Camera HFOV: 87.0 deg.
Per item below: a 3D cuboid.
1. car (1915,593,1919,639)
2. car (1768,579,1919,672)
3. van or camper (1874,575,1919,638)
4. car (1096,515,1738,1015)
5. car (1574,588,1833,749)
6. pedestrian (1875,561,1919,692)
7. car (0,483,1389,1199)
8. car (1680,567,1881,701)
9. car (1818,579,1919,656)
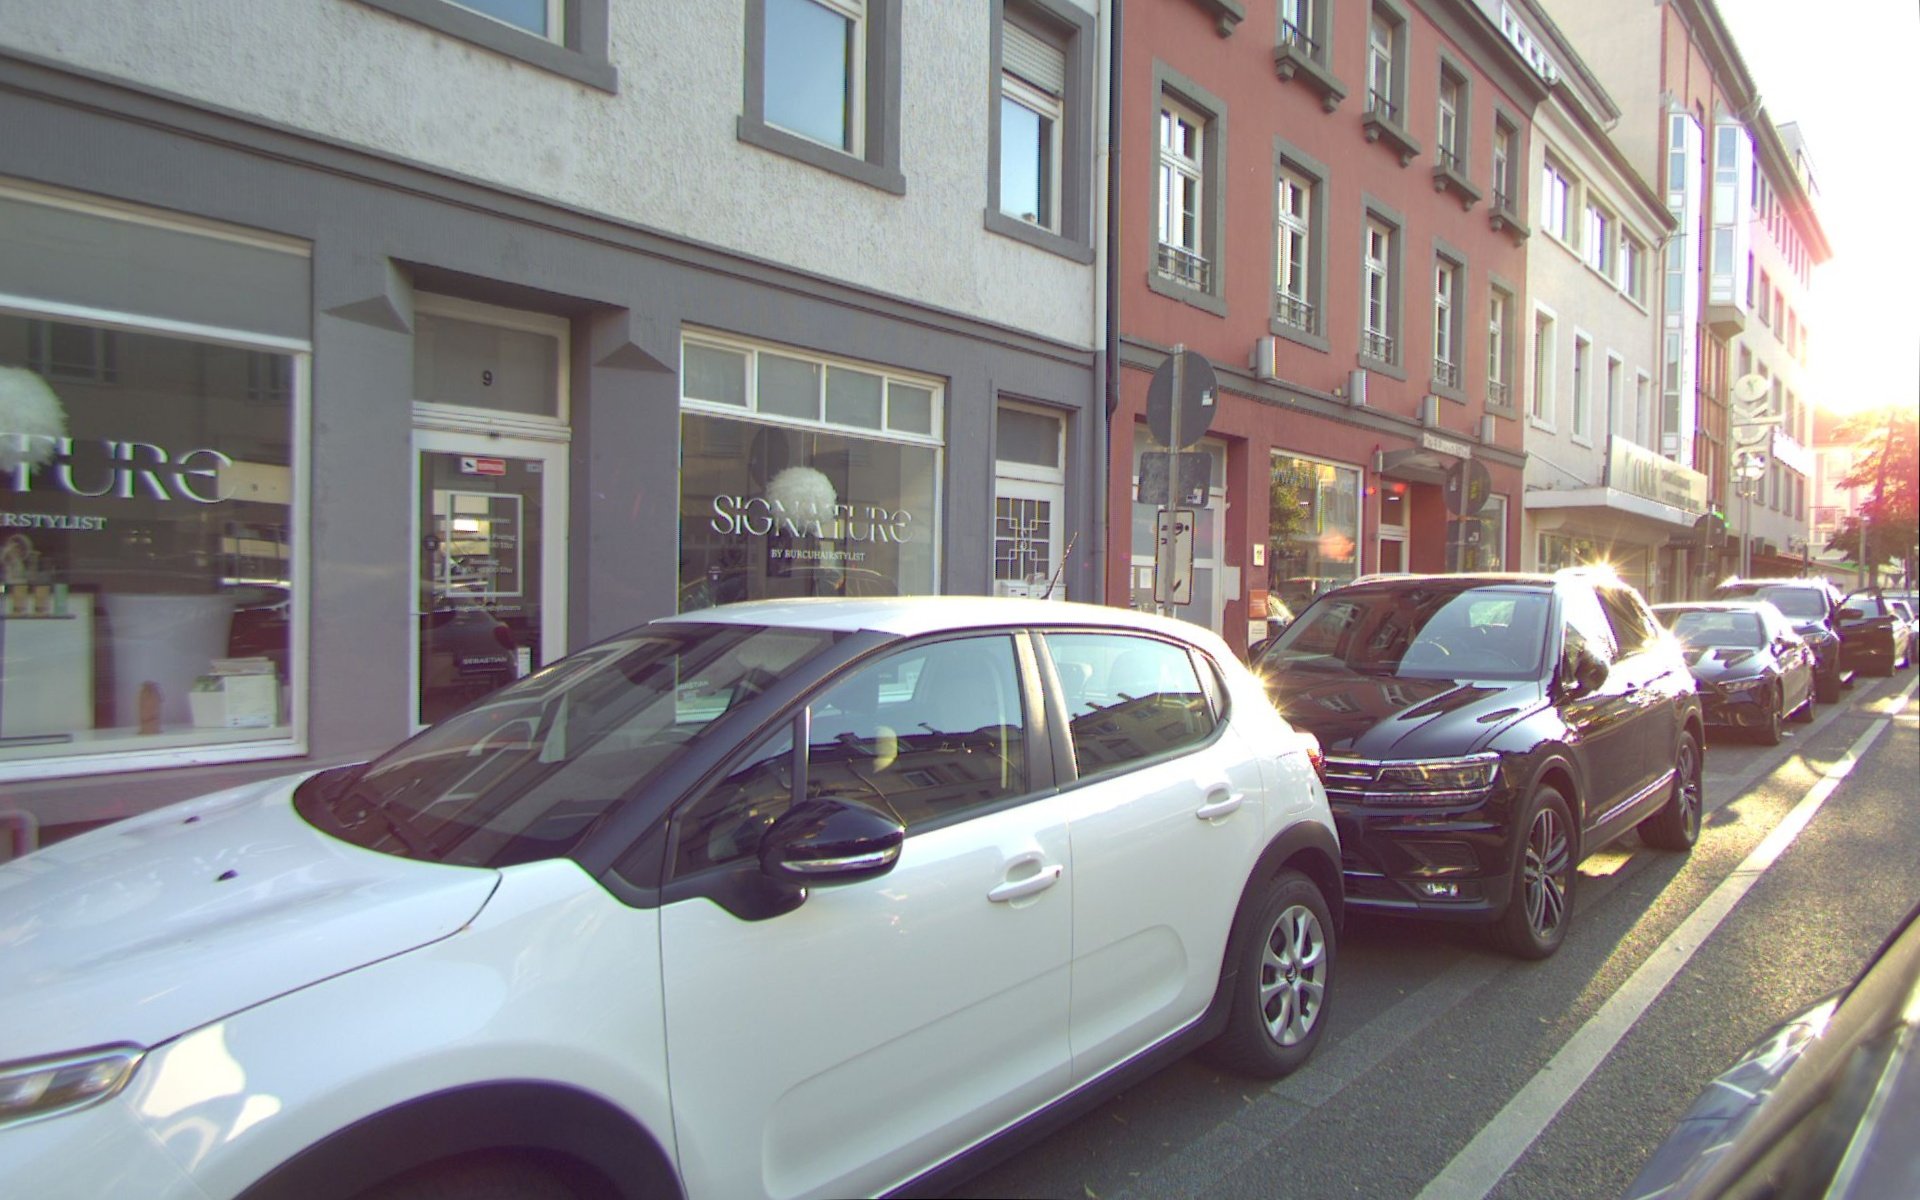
[{"bbox_3d":[33.366,0.541,33.887,3.722,1.521,1.693,-1,2,-42],"label":"car"},{"bbox_3d":[18.108,0.420,20.548,4.549,1.676,1.996,-1,1,-43],"label":"car"},{"bbox_3d":[29.350,0.164,30.958,4.483,1.795,1.789,-1,2,-45],"label":"van or camper"},{"bbox_3d":[2.840,0.550,5.674,4.387,1.720,1.795,-1,0,-44],"label":"car"},{"bbox_3d":[8.671,0.635,11.644,4.338,1.507,1.686,-1,-1,-44],"label":"car"},{"bbox_3d":[13.844,0.375,14.902,0.483,1.881,0.532,1,1,39],"label":"pedestrian"},{"bbox_3d":[-0.538,0.652,2.707,3.868,1.593,1.663,-1,0,-43],"label":"car"},{"bbox_3d":[13.183,0.418,16.119,1.994,1.799,5.233,1,1,45],"label":"car"},{"bbox_3d":[22.425,0.363,24.569,4.406,1.675,1.995,-1,2,-44],"label":"car"}]
